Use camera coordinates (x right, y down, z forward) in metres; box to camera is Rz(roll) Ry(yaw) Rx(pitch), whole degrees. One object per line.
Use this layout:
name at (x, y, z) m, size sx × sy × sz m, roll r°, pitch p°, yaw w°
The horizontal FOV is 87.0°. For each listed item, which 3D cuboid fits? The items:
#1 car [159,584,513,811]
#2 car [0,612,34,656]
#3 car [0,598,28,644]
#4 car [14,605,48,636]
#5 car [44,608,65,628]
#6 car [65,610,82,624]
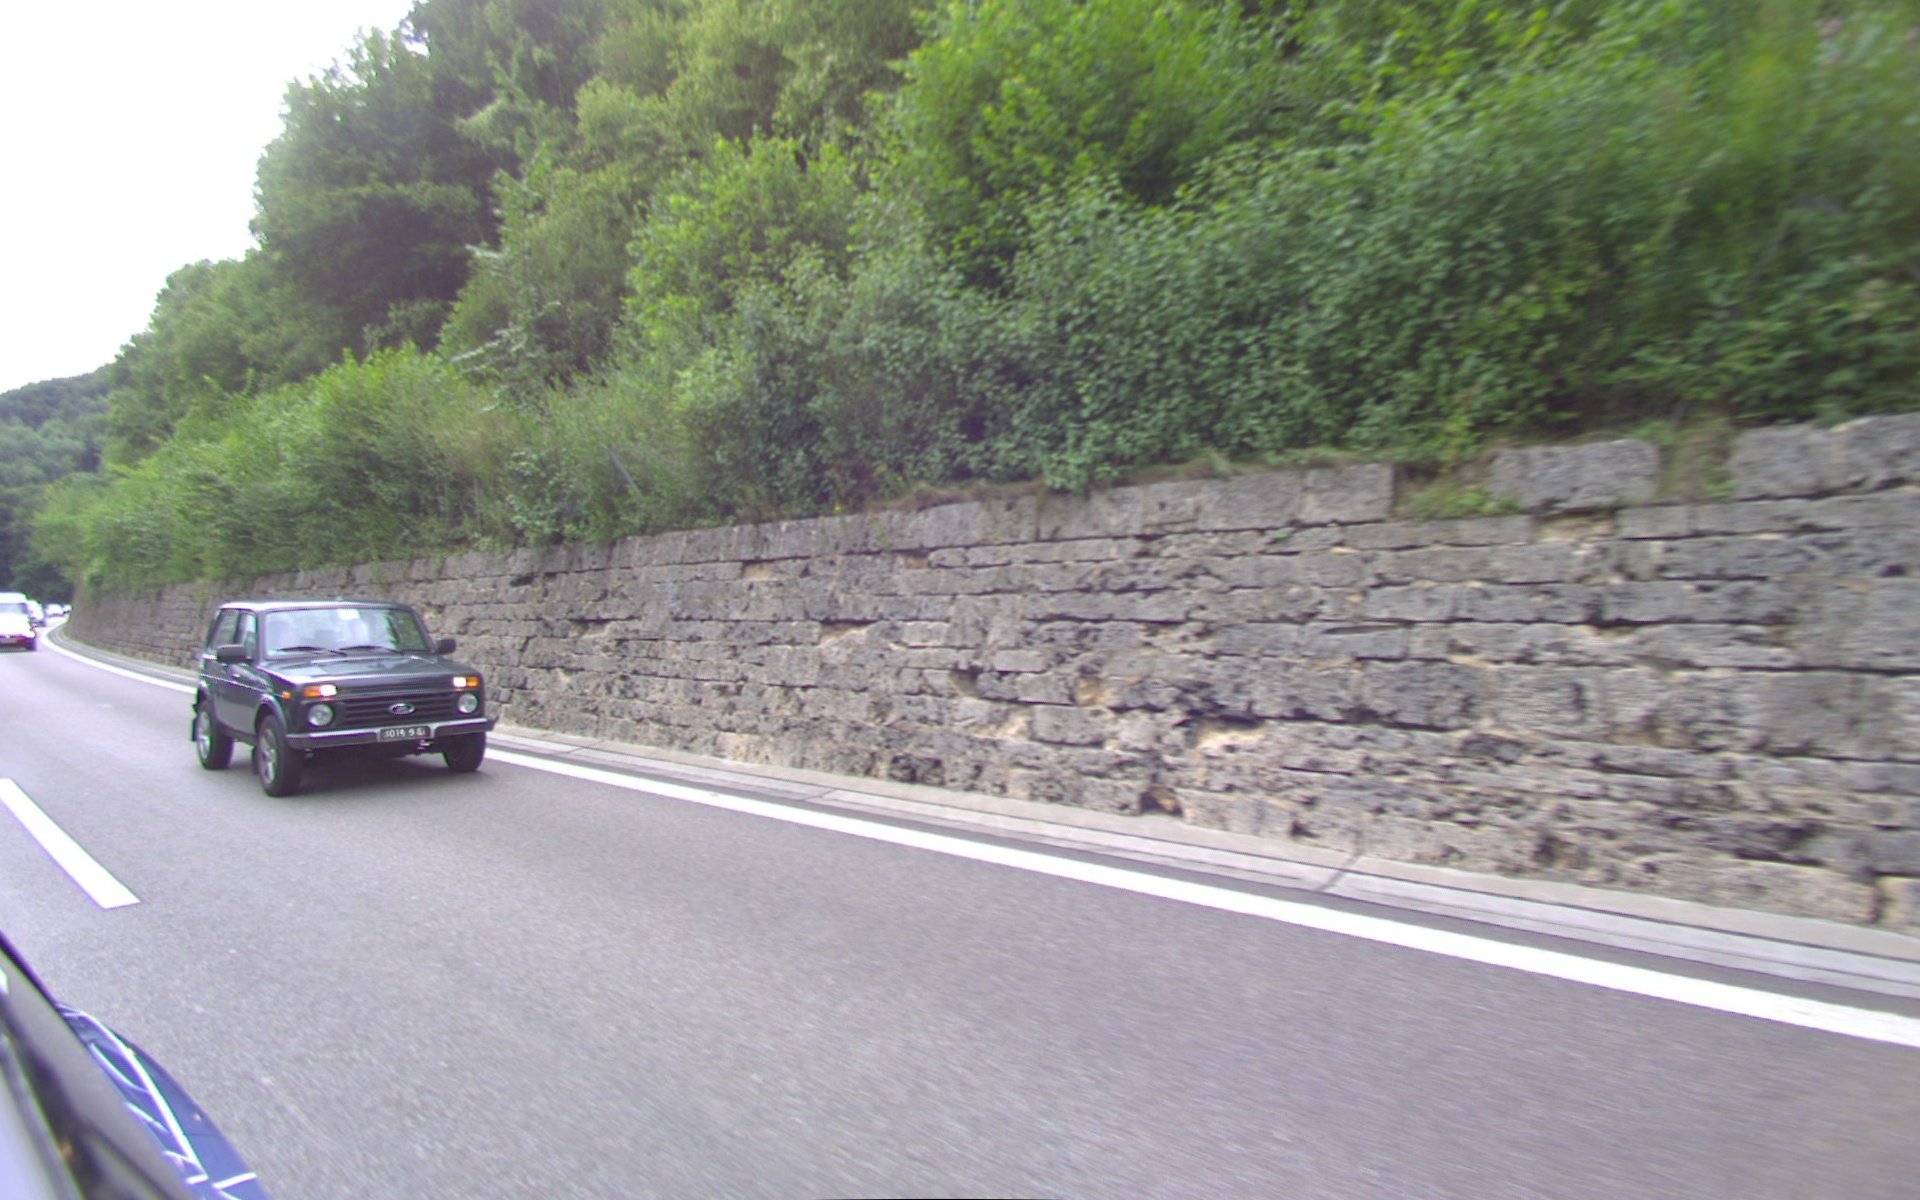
car at (-6.170, 0.732, 9.742) m, size 4.584 × 1.668 × 1.788 m, roll -1°, pitch 1°, yaw 44°
car at (-38.303, 1.340, 40.387) m, size 1.788 × 1.668 × 4.586 m, roll -2°, pitch 0°, yaw -45°
car at (-57.117, 1.238, 60.510) m, size 1.948 × 2.663 × 4.587 m, roll 0°, pitch -1°, yaw -43°
car at (-78.265, 1.717, 85.317) m, size 1.947 × 2.580 × 4.590 m, roll -1°, pitch 0°, yaw -41°
car at (-120.781, 2.393, 135.029) m, size 1.947 × 2.580 × 4.590 m, roll 0°, pitch -1°, yaw -41°
car at (-151.957, 2.890, 173.445) m, size 1.971 × 2.027 × 4.004 m, roll -9°, pitch 7°, yaw -42°
